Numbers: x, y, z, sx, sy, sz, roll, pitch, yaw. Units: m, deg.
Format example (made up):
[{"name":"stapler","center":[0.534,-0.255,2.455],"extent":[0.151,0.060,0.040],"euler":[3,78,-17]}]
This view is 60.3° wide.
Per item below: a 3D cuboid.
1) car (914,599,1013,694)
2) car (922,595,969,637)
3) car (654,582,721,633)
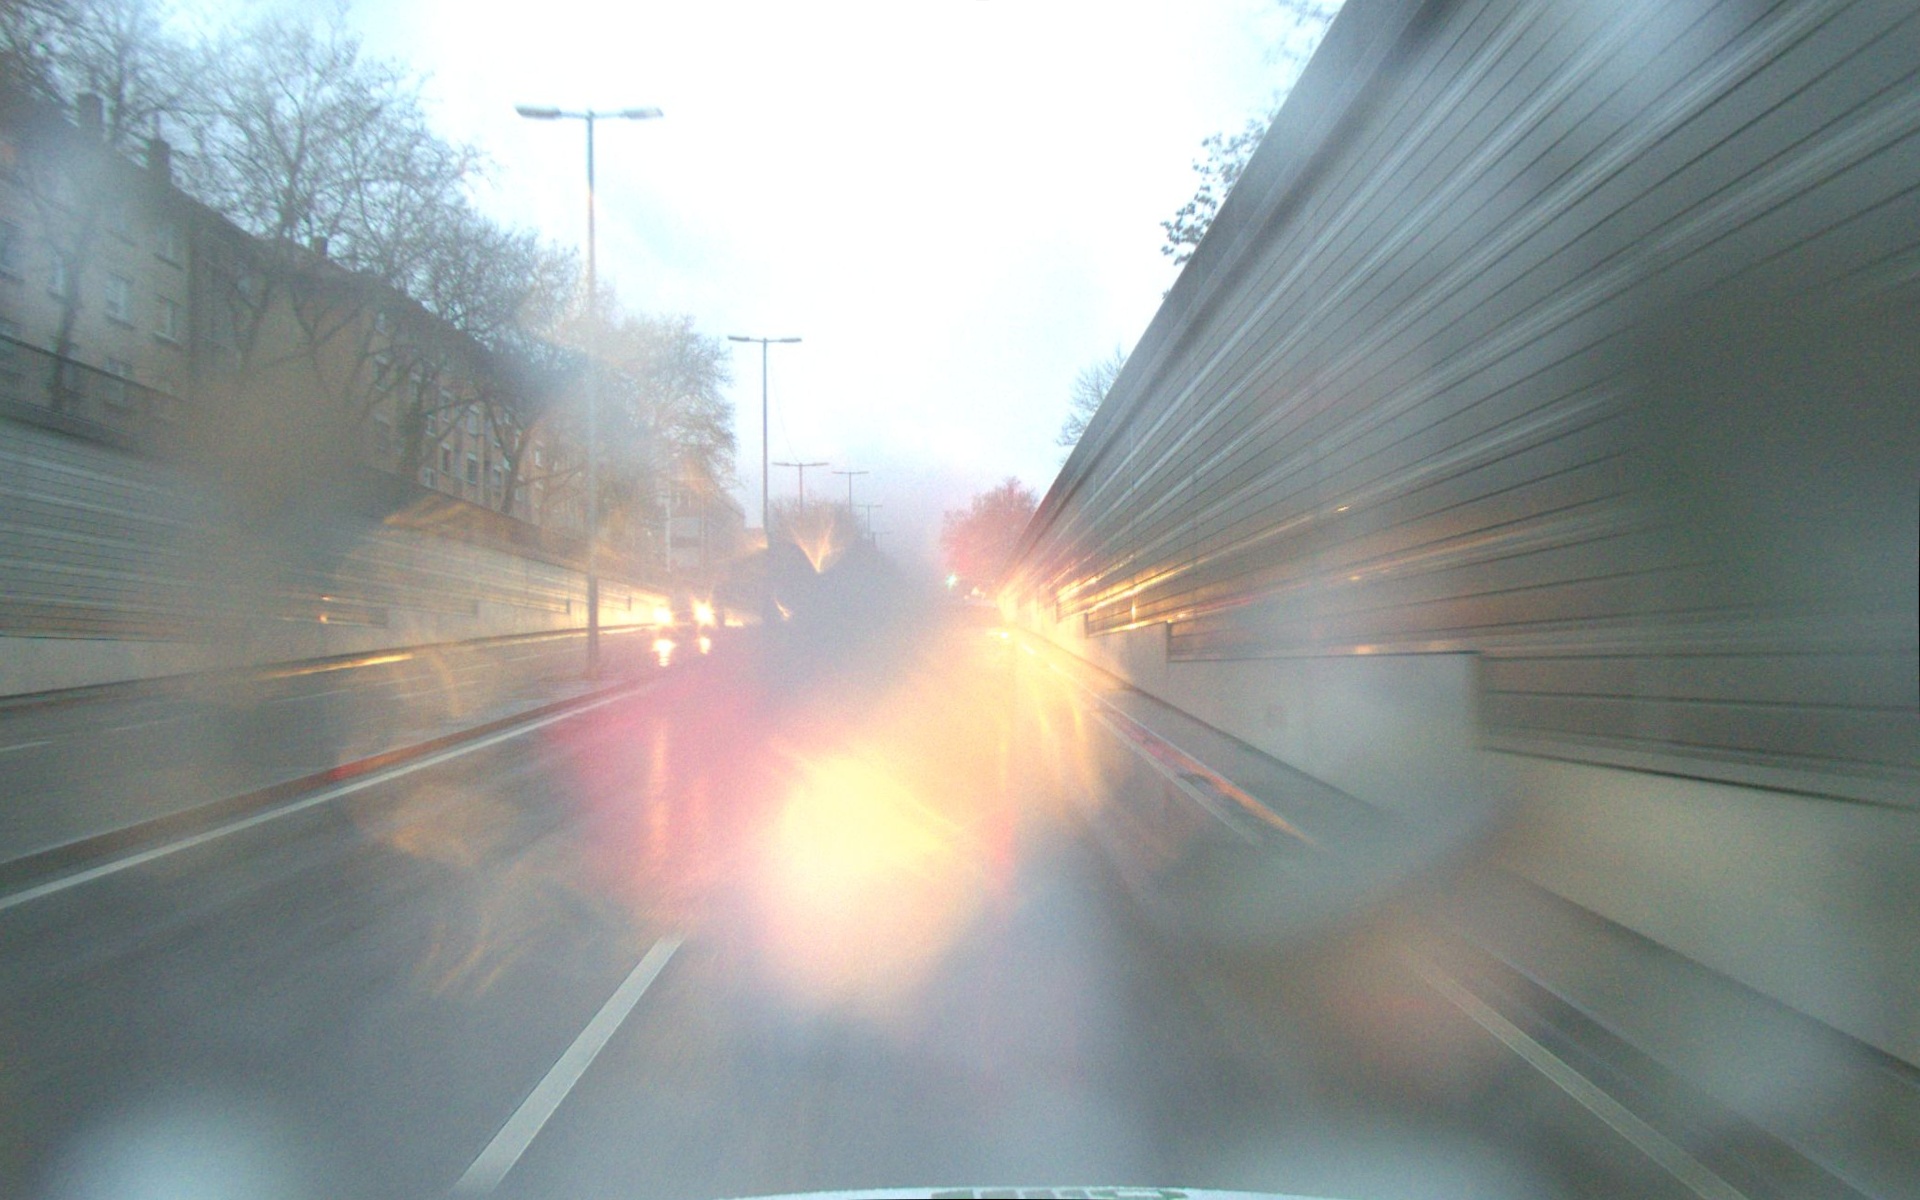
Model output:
[{"name":"car","center":[0.034,0.757,26.924],"extent":[1.500,1.422,3.433],"euler":[1,-2,-1]},{"name":"car","center":[-0.662,0.708,71.068],"extent":[1.843,1.649,3.997],"euler":[1,-3,-3]},{"name":"car","center":[-8.512,0.206,51.851],"extent":[1.540,1.496,3.686],"euler":[-1,1,-1]}]
